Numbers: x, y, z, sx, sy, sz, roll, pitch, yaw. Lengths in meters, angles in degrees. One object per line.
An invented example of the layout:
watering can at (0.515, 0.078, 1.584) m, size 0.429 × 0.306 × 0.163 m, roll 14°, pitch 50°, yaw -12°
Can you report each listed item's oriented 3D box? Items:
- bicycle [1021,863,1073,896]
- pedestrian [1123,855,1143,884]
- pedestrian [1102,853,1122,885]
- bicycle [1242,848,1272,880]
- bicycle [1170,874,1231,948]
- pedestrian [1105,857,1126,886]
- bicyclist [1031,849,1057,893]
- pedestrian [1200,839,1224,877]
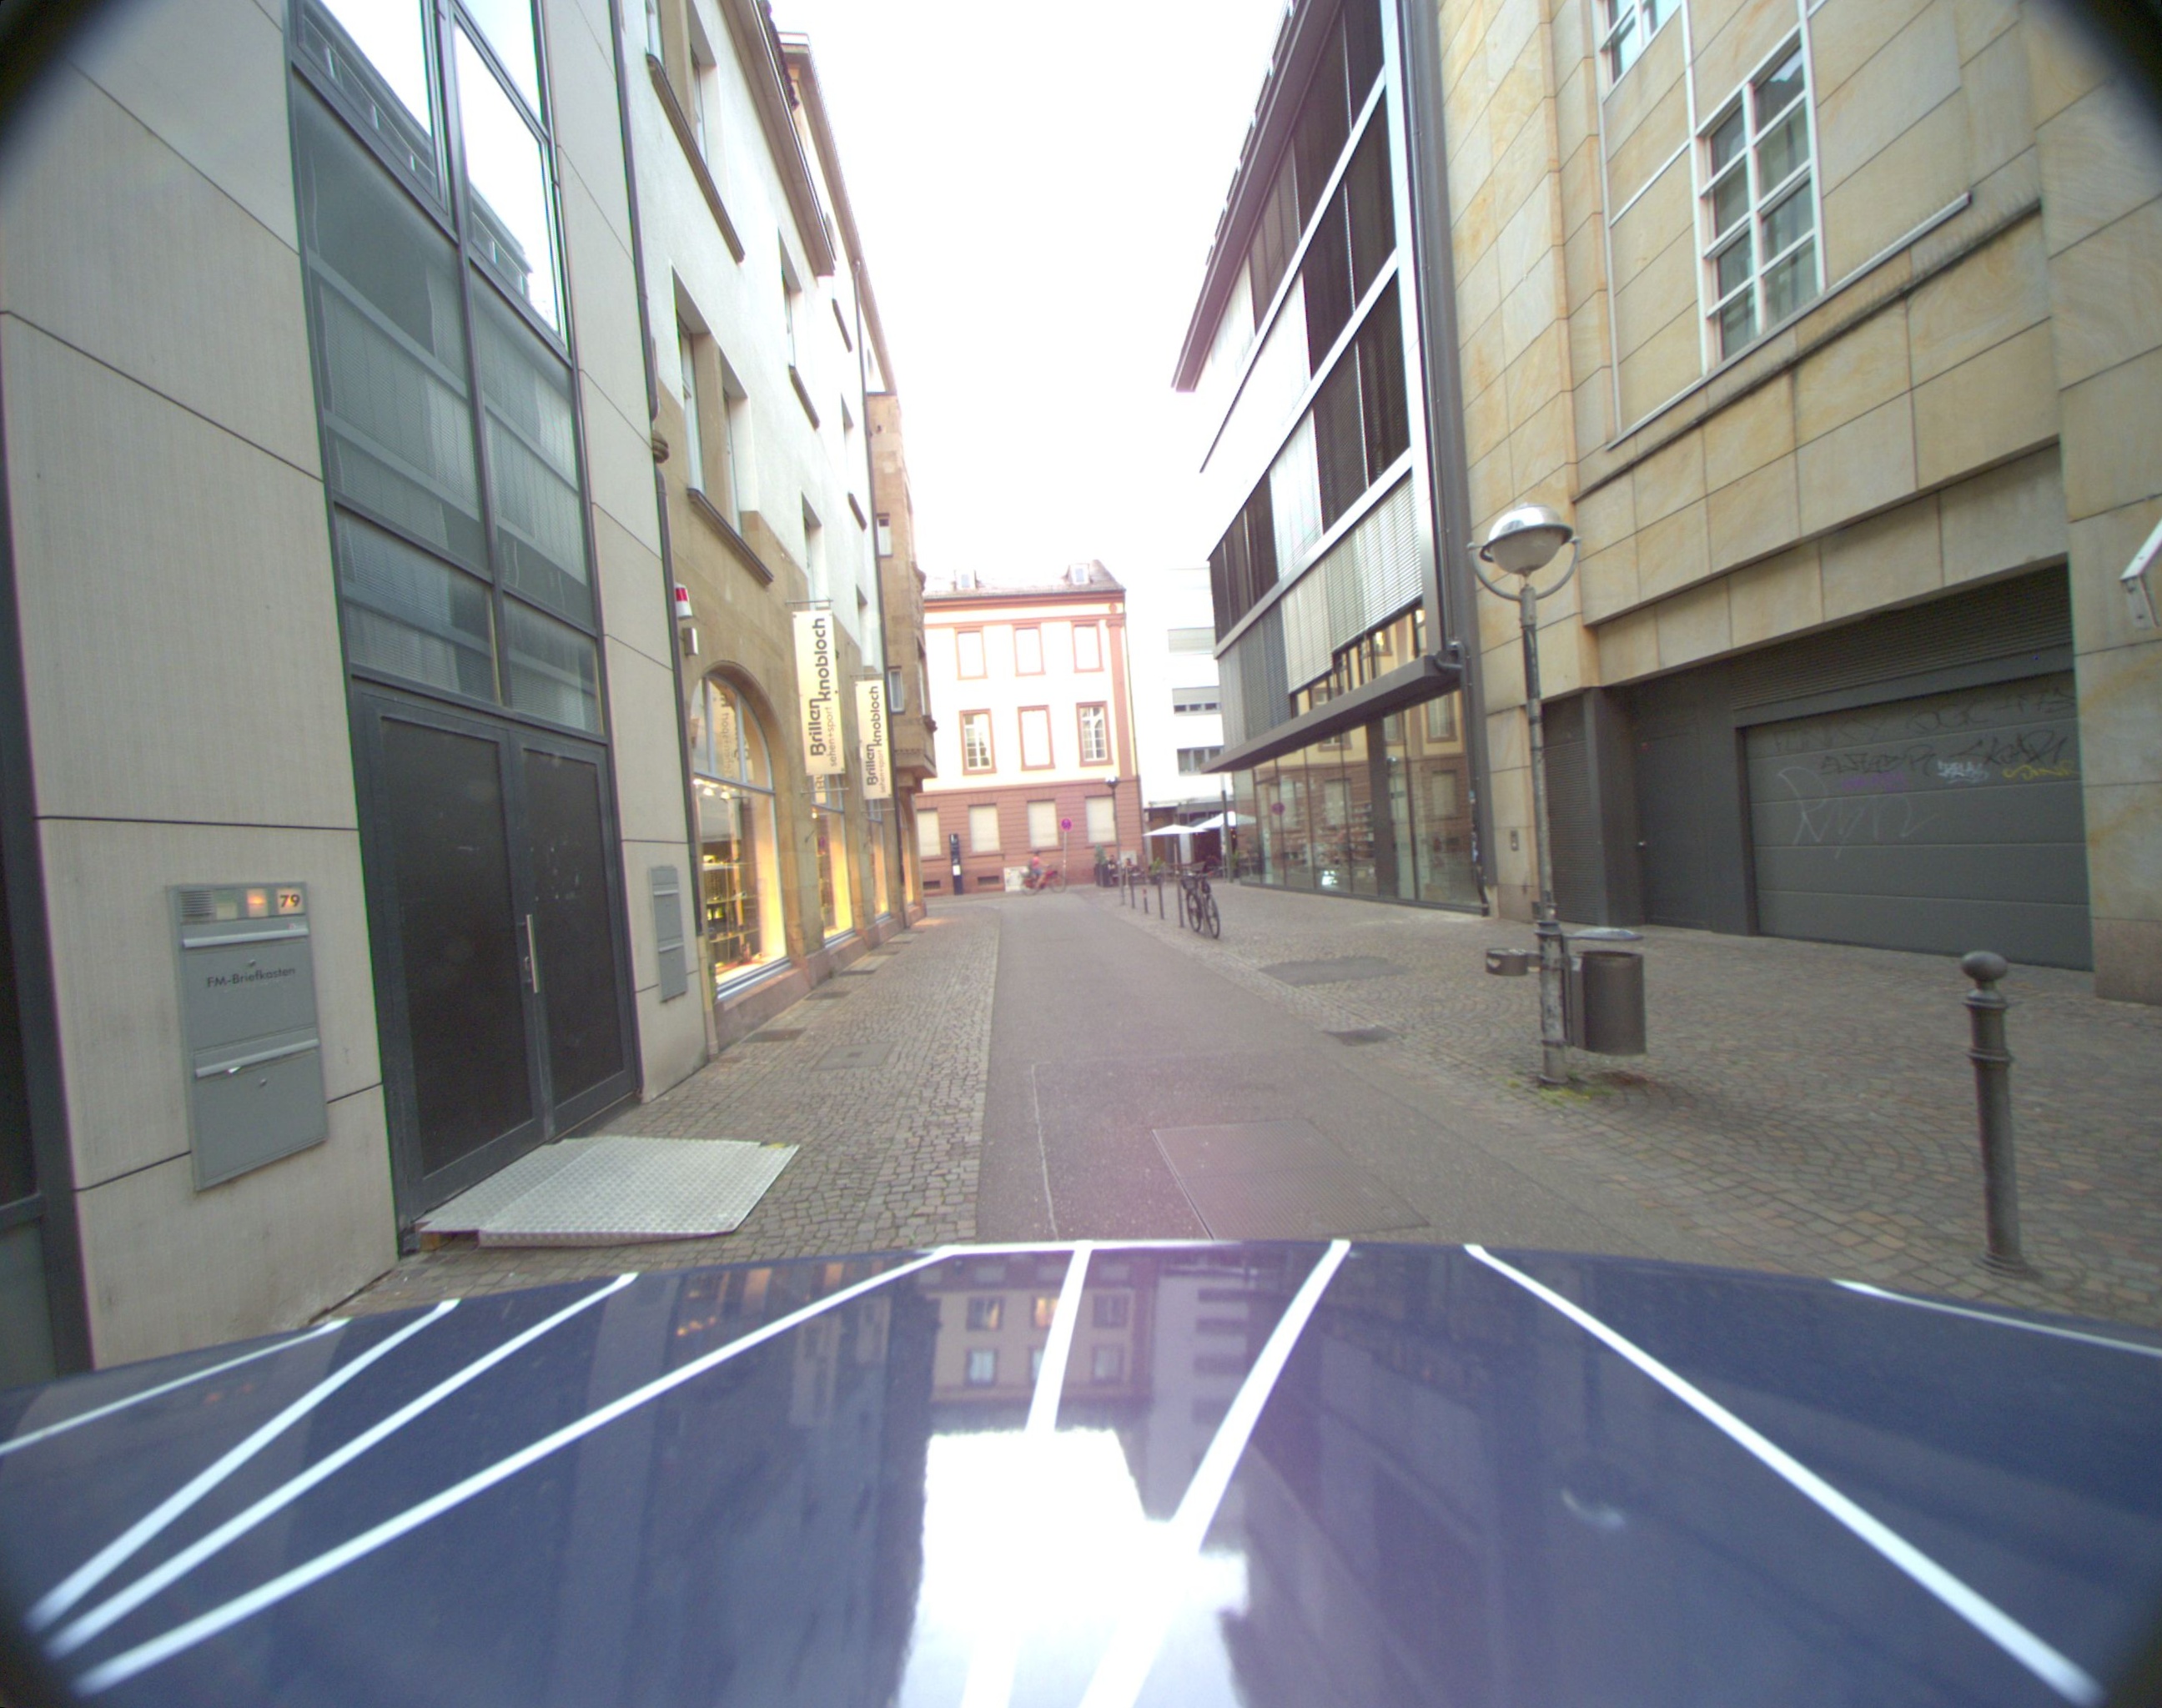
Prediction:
bicycle at (-1.394, 1.013, 30.779) m, size 1.980 × 1.143 × 0.578 m, roll -5°, pitch 1°, yaw -4°
pedestrian at (2.298, 0.679, 33.748) m, size 0.673 × 1.177 × 0.792 m, roll -4°, pitch 2°, yaw -7°
pedestrian at (1.375, 0.670, 33.997) m, size 0.673 × 1.324 × 0.792 m, roll -4°, pitch 2°, yaw -7°
bicycle at (6.508, 0.388, 28.127) m, size 0.467 × 1.129 × 1.702 m, roll -5°, pitch -1°, yaw -5°
bicycle at (2.037, 0.942, 13.196) m, size 0.411 × 1.126 × 1.929 m, roll -5°, pitch 1°, yaw -9°
pedestrian at (1.489, 0.751, 32.666) m, size 0.674 × 1.177 × 0.792 m, roll -5°, pitch 2°, yaw -10°
bicyclist at (-1.490, 0.665, 30.774) m, size 0.900 × 1.694 × 0.630 m, roll -5°, pitch 1°, yaw -4°
pedestrian at (5.904, 0.175, 34.263) m, size 0.725 × 1.639 × 0.792 m, roll -5°, pitch 1°, yaw -10°
